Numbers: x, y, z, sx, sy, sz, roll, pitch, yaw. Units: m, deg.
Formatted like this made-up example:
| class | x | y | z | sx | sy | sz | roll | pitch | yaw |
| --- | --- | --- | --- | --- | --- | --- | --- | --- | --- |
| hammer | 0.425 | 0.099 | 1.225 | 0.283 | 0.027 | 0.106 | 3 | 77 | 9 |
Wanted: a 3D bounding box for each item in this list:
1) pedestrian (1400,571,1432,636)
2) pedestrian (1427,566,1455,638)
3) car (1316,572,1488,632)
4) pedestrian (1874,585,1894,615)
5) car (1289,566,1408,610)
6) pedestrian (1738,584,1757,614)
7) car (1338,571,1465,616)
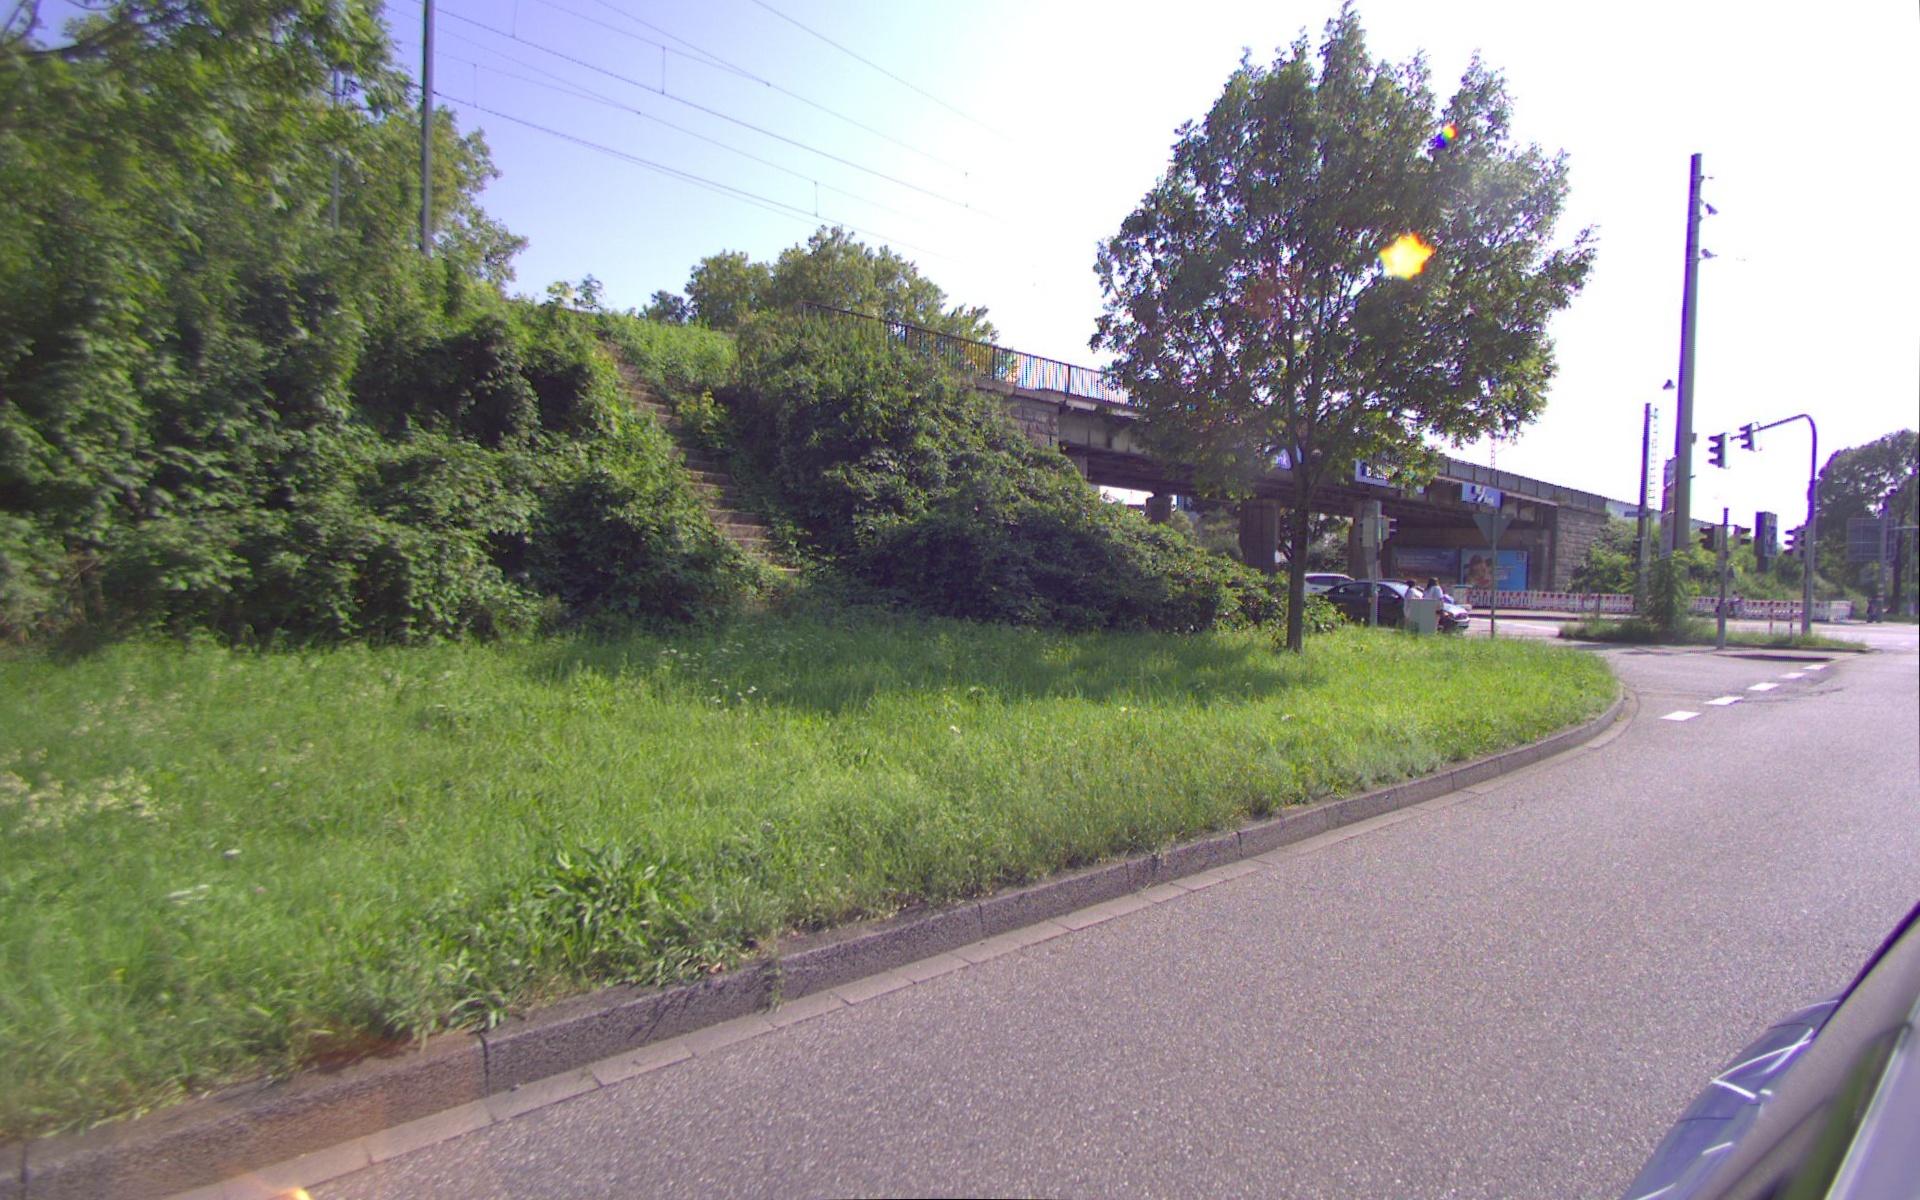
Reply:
| class | x | y | z | sx | sy | sz | roll | pitch | yaw |
| --- | --- | --- | --- | --- | --- | --- | --- | --- | --- |
| pedestrian | 11.274 | 0.068 | 25.010 | 0.563 | 1.586 | 0.535 | 1 | 1 | 8 |
| pedestrian | 11.448 | 0.041 | 24.118 | 0.486 | 1.703 | 0.568 | 1 | 1 | 18 |
| car | 12.527 | -0.008 | 28.941 | 1.834 | 1.552 | 4.197 | 0 | 2 | -32 |
| pedestrian | 51.924 | -0.009 | 56.878 | 0.746 | 1.593 | 0.649 | 0 | 3 | -40 |
| car | 15.267 | -0.504 | 40.007 | 4.157 | 1.638 | 2.001 | 1 | 1 | 16 |
| pedestrian | 42.107 | -0.070 | 54.131 | 0.625 | 1.594 | 0.489 | 1 | 1 | 12 |
| car | 15.965 | -0.264 | 36.800 | 3.941 | 1.470 | 1.611 | 2 | 1 | 14 |
